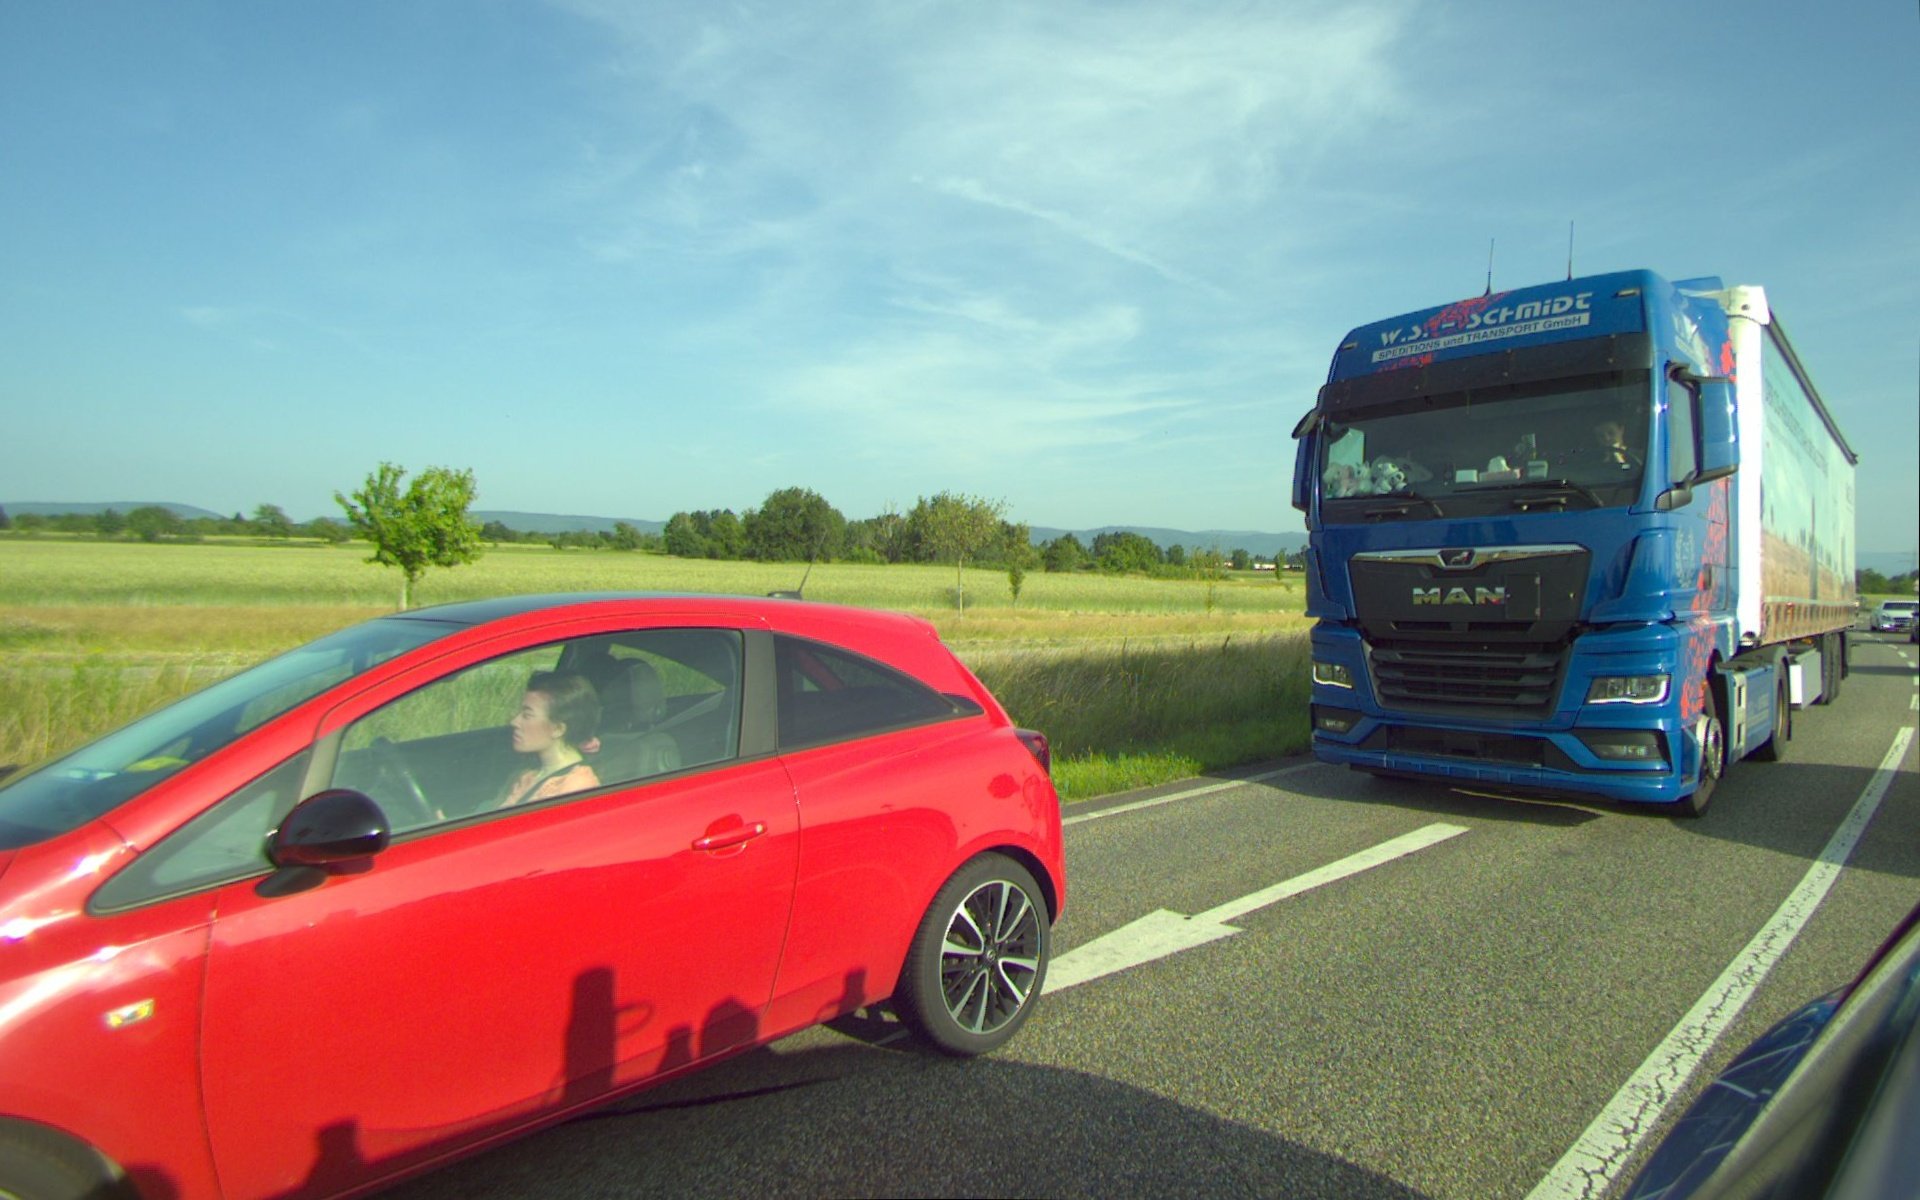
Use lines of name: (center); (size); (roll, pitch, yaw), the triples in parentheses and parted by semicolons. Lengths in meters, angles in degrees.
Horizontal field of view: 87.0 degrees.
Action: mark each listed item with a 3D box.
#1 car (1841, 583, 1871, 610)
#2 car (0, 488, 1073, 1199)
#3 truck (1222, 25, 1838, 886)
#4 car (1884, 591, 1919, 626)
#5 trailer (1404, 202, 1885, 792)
car: (66.849, -0.285, 75.530); (1.551, 1.944, 3.977); (2, 1, 40)
car: (-1.523, 0.580, 2.782); (3.689, 1.568, 1.698); (0, 2, -44)
truck: (5.176, -0.839, 8.739); (3.301, 4.716, 5.640); (0, 1, 45)
car: (41.208, 0.355, 43.855); (1.551, 1.417, 3.977); (2, 2, 40)
trailer: (10.250, -0.947, 13.938); (3.282, 4.739, 12.938); (0, 1, 44)
